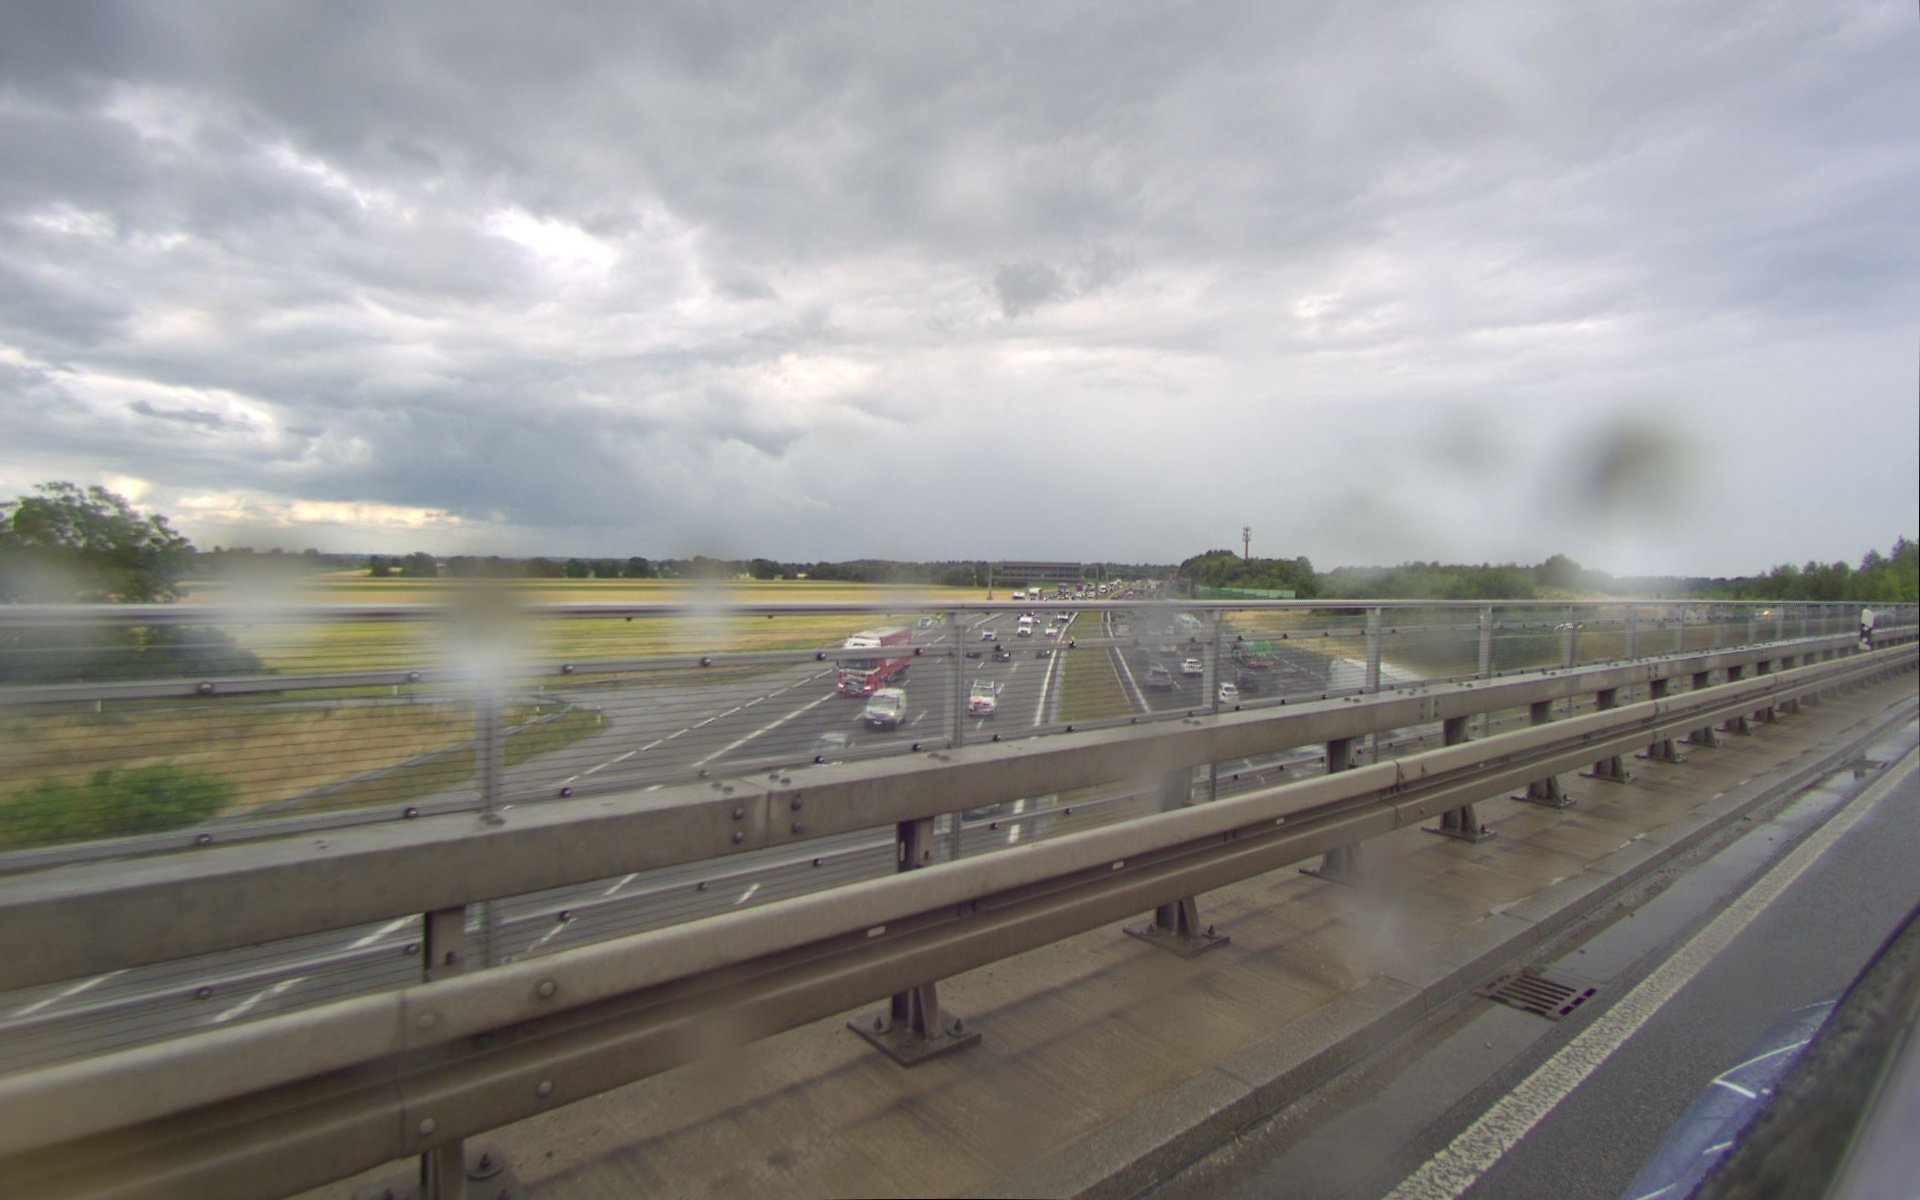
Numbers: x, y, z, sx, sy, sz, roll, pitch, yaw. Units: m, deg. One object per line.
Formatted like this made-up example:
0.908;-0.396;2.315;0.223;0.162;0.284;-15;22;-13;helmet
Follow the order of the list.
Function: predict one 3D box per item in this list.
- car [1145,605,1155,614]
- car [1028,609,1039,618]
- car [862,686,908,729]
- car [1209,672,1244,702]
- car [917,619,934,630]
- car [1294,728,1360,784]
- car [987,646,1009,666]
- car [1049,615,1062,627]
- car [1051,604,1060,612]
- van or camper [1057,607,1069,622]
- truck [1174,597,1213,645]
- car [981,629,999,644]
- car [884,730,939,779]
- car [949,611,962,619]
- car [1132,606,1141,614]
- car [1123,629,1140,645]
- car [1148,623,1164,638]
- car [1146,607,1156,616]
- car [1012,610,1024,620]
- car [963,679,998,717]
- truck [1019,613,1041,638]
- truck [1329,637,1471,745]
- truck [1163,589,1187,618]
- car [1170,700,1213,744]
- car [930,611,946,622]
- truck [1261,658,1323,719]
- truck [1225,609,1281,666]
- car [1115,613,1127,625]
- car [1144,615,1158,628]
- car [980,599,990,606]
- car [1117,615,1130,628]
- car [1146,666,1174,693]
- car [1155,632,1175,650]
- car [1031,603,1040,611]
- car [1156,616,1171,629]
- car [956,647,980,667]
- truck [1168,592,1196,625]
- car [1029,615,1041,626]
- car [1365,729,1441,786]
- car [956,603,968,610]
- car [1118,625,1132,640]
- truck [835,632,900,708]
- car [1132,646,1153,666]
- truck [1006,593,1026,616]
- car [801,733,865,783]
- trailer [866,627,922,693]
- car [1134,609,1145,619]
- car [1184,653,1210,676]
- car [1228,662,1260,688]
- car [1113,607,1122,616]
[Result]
42.926;2.099;228.543;1.826;1.796;4.714;0;1;8;car
14.544;2.711;199.933;1.826;1.690;4.714;0;1;8;car
-4.228;6.053;57.635;1.783;1.907;4.716;0;1;7;car
18.878;6.132;71.762;1.826;1.690;4.714;0;1;8;car
-5.013;3.603;149.087;1.783;1.454;4.716;0;1;7;car
16.300;6.879;45.171;1.826;1.690;4.714;0;1;8;car
3.889;5.666;102.119;1.784;1.690;4.714;0;1;8;car
15.285;3.343;162.300;1.826;1.690;4.714;0;1;8;car
21.956;1.778;231.549;1.826;1.690;4.714;0;1;8;car
18.723;2.669;183.718;2.025;2.481;7.314;0;1;8;van or camper
29.224;2.441;127.204;3.240;5.511;15.598;0;1;7;truck
3.797;4.579;128.717;1.784;1.690;4.714;0;1;8;car
-2.156;7.048;46.463;1.783;1.454;4.716;0;1;7;car
-0.824;2.762;185.888;1.783;1.454;4.716;0;1;7;car
38.365;2.161;220.056;1.826;1.796;4.714;0;1;8;car
20.639;4.471;122.068;1.826;1.690;4.714;0;1;8;car
26.766;4.167;138.409;1.826;1.796;4.714;0;1;8;car
39.471;2.359;209.192;1.826;1.796;4.714;0;1;8;car
10.694;2.793;185.420;1.826;1.690;4.714;0;1;8;car
1.330;6.211;64.487;1.783;1.870;4.716;0;1;7;car
9.902;3.591;142.412;2.553;3.219;8.377;0;1;8;truck
24.776;4.810;58.288;3.544;4.594;15.592;0;1;9;truck
43.039;0.603;203.079;3.434;5.419;15.598;0;1;7;truck
12.247;6.428;53.851;1.826;1.690;4.714;0;1;8;car
-3.515;2.587;160.940;1.826;1.690;4.714;0;1;8;car
21.279;5.550;65.363;2.175;3.003;9.288;0;1;8;truck
30.545;3.699;106.124;3.240;5.229;15.598;0;1;7;truck
26.857;3.192;168.559;1.826;1.796;4.714;0;1;8;car
29.278;3.257;155.453;1.826;1.796;4.714;0;1;8;car
5.499;0.552;220.173;1.783;1.454;4.716;0;1;7;car
25.026;3.244;155.118;1.826;1.796;4.714;0;1;8;car
15.504;6.123;78.678;1.826;1.690;4.714;0;1;8;car
22.915;4.598;113.275;1.826;1.796;4.714;0;1;8;car
16.821;1.634;225.400;1.826;1.690;4.714;0;1;8;car
29.759;3.260;147.973;1.826;1.796;4.714;0;1;8;car
0.808;5.710;101.356;1.784;1.690;4.714;0;1;8;car
39.027;1.408;178.406;3.434;5.419;15.598;0;1;7;truck
12.346;3.297;166.589;1.784;1.690;4.714;0;1;8;car
19.373;6.844;44.435;1.826;1.690;4.714;0;1;8;car
0.423;1.260;198.002;1.783;1.454;4.716;0;1;7;car
21.856;4.242;134.134;1.826;1.796;4.714;0;1;8;car
-6.513;4.855;72.793;2.641;4.684;9.734;0;0;7;truck
18.114;5.568;100.577;1.826;1.690;4.714;0;1;8;car
12.558;0.851;227.149;2.750;4.961;12.714;0;1;11;truck
-5.643;7.020;45.410;1.783;1.454;4.716;0;1;7;car
-5.255;4.722;82.600;2.641;4.687;9.889;0;0;7;trailer
33.893;2.609;191.022;1.826;1.796;4.714;0;1;8;car
21.418;5.793;91.585;1.826;1.690;4.714;0;1;8;car
22.795;6.007;81.435;1.826;1.690;4.714;0;1;8;car
32.650;2.376;209.537;1.826;1.796;4.714;0;1;8;car
